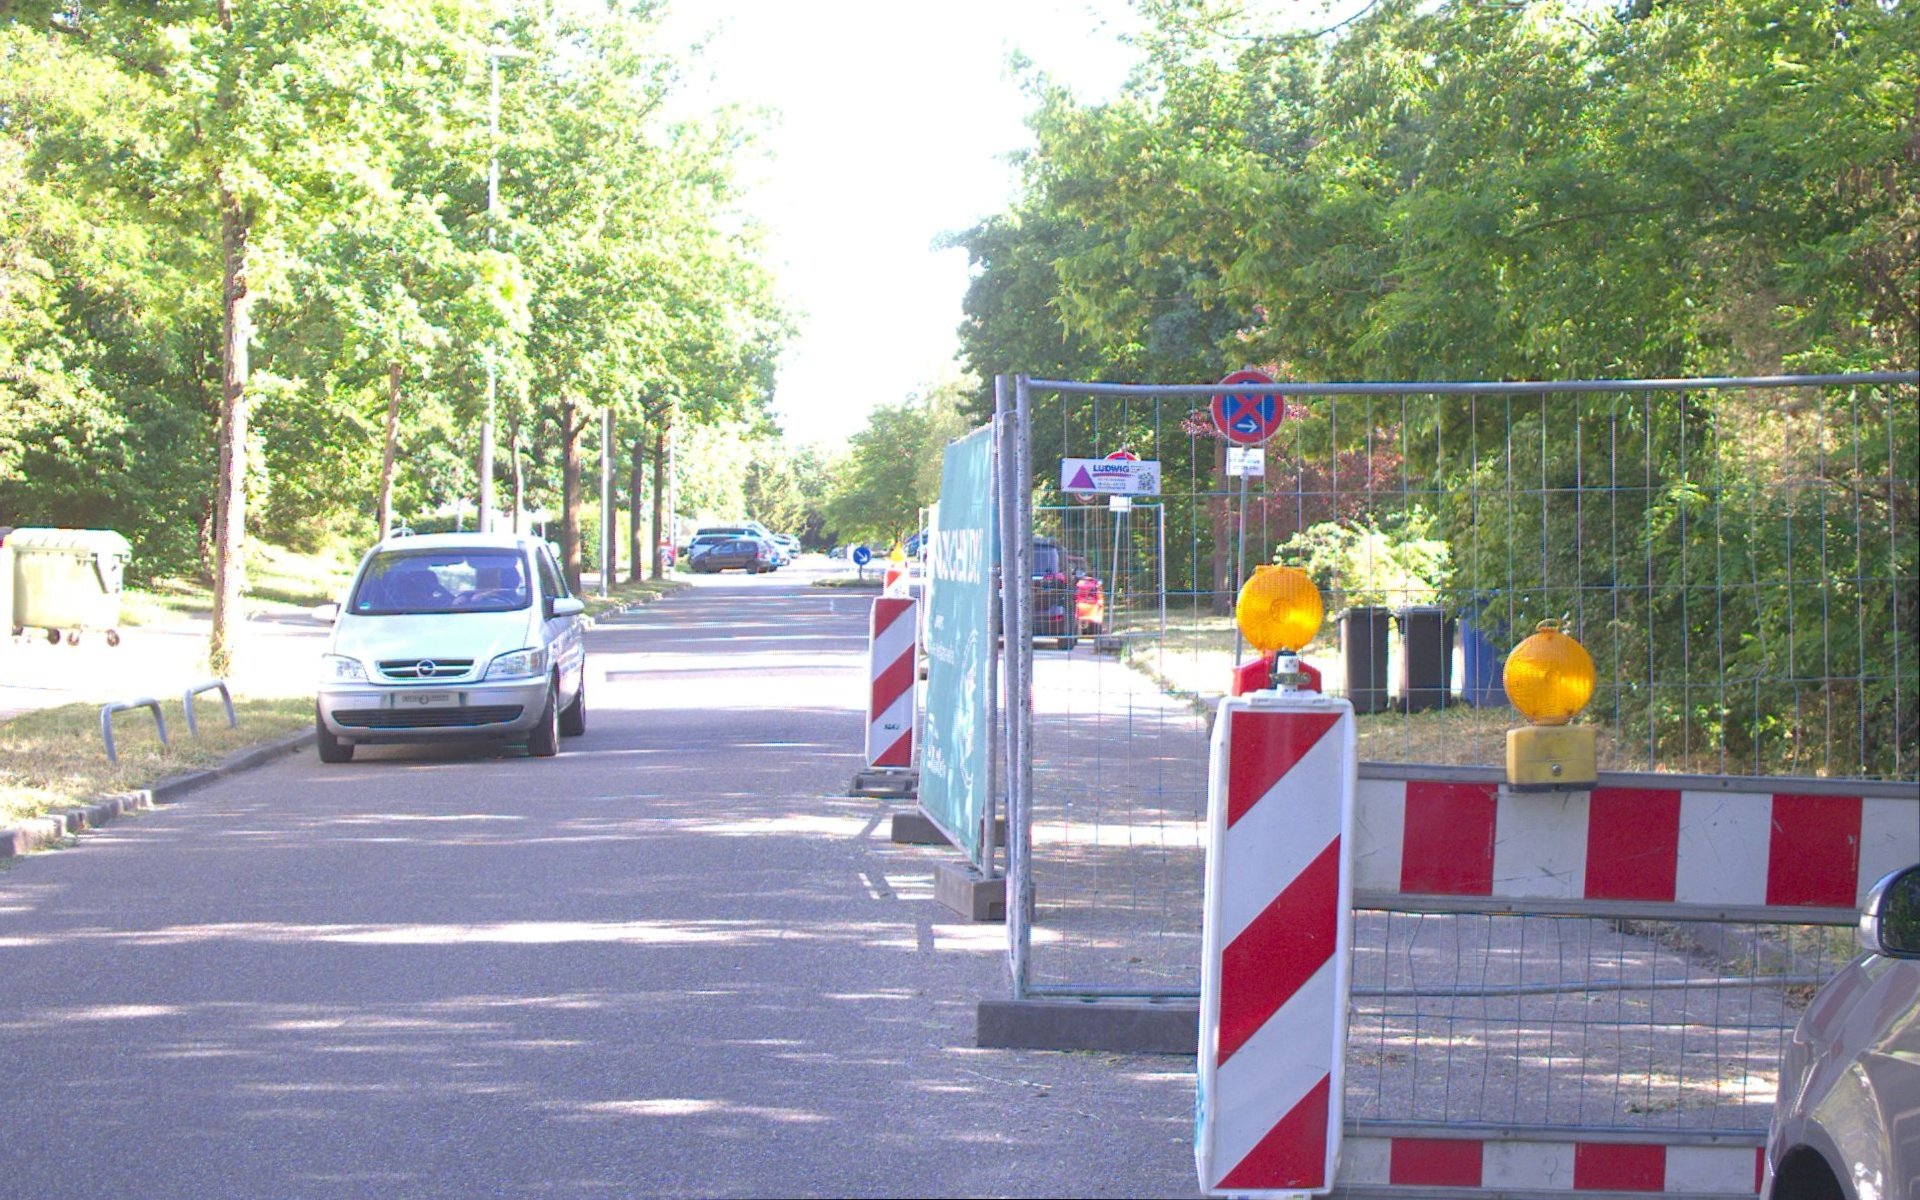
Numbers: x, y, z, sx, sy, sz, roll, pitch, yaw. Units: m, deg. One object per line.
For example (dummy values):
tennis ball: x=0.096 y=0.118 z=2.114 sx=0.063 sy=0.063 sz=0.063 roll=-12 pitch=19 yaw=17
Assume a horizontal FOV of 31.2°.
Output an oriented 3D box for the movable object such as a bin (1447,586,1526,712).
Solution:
movable object such as a bin: x=4.260 y=0.389 z=27.821 sx=0.519 sy=0.996 sz=0.608 roll=-1 pitch=1 yaw=-1

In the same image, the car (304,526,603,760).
car: x=-3.687 y=0.259 z=25.627 sx=1.659 sy=1.590 sz=4.009 roll=-1 pitch=1 yaw=-1

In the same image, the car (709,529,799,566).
car: x=-9.817 y=-2.517 z=164.253 sx=4.107 sy=1.571 sz=1.958 roll=2 pitch=1 yaw=1

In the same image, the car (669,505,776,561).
car: x=-11.969 y=-3.393 z=173.156 sx=5.199 sy=2.612 sz=2.294 roll=2 pitch=1 yaw=-6

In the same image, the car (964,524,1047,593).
car: x=1.211 y=-1.144 z=94.184 sx=1.790 sy=1.779 sz=4.558 roll=2 pitch=1 yaw=-5

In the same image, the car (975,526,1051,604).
car: x=1.257 y=-0.858 z=82.878 sx=1.623 sy=1.767 sz=3.669 roll=2 pitch=1 yaw=-1

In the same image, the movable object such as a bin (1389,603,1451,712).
movable object such as a bin: x=3.740 y=0.463 z=27.954 sx=0.413 sy=0.867 sz=0.484 roll=-1 pitch=1 yaw=-1

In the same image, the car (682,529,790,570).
car: x=-9.623 y=-2.164 z=147.951 sx=4.319 sy=1.571 sz=2.046 roll=2 pitch=1 yaw=6

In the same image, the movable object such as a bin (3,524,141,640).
movable object such as a bin: x=-11.125 y=-0.238 z=43.104 sx=1.270 sy=1.430 sz=1.181 roll=0 pitch=1 yaw=15

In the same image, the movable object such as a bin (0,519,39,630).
movable object such as a bin: x=-12.778 y=-0.335 z=44.790 sx=1.141 sy=1.430 sz=1.273 roll=-1 pitch=1 yaw=-35

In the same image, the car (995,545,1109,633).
car: x=1.525 y=-0.209 z=58.446 sx=1.661 sy=1.371 sz=4.155 roll=2 pitch=1 yaw=-2

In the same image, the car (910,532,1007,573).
car: x=-0.047 y=-1.990 z=143.570 sx=3.839 sy=1.571 sz=1.688 roll=2 pitch=1 yaw=6

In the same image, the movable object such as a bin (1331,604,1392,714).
movable object such as a bin: x=3.251 y=0.475 z=27.859 sx=0.413 sy=0.867 sz=0.484 roll=-1 pitch=1 yaw=-1

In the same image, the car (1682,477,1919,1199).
car: x=2.037 y=0.699 z=3.254 sx=1.678 sy=1.616 sz=4.138 roll=2 pitch=1 yaw=-2

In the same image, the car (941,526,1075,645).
car: x=0.771 y=-0.246 z=51.844 sx=1.810 sy=1.645 sz=4.420 roll=2 pitch=1 yaw=3
